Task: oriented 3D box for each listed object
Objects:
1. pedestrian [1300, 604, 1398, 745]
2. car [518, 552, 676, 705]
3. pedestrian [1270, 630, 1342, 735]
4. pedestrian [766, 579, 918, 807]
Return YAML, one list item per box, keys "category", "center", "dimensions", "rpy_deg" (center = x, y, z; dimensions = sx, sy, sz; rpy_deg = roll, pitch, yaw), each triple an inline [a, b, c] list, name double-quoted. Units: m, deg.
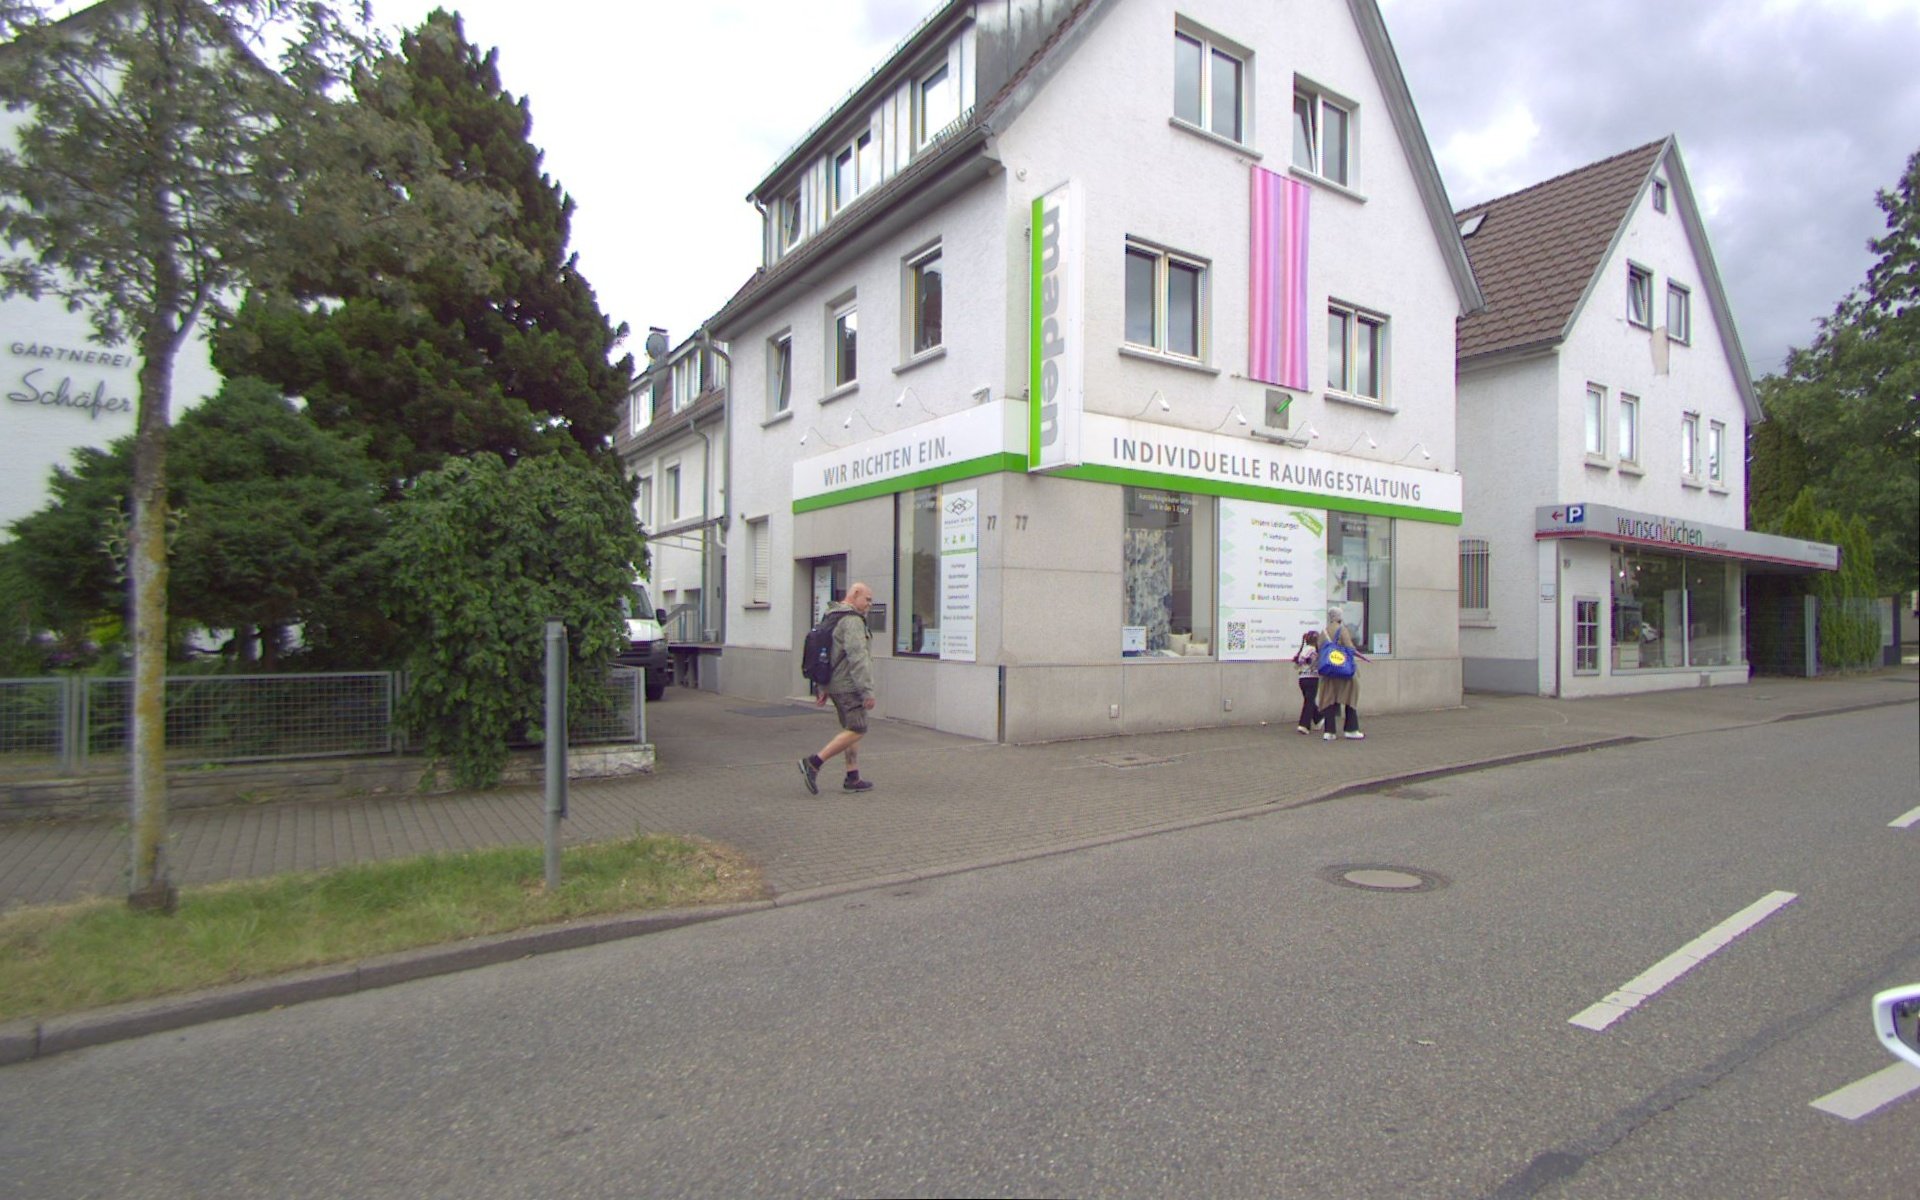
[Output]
- category: "pedestrian"
  center: [4.783, 0.887, 12.376]
  dimensions: [0.784, 1.638, 0.747]
  rpy_deg: [1, 2, -33]
- category: "car"
  center: [-7.070, 0.559, 19.172]
  dimensions: [1.976, 2.496, 5.276]
  rpy_deg: [1, -2, -29]
- category: "pedestrian"
  center: [4.501, 1.048, 13.083]
  dimensions: [0.648, 1.297, 0.596]
  rpy_deg: [1, 1, -33]
- category: "pedestrian"
  center: [-0.993, 0.727, 8.406]
  dimensions: [1.008, 1.767, 0.747]
  rpy_deg: [1, 1, -33]
